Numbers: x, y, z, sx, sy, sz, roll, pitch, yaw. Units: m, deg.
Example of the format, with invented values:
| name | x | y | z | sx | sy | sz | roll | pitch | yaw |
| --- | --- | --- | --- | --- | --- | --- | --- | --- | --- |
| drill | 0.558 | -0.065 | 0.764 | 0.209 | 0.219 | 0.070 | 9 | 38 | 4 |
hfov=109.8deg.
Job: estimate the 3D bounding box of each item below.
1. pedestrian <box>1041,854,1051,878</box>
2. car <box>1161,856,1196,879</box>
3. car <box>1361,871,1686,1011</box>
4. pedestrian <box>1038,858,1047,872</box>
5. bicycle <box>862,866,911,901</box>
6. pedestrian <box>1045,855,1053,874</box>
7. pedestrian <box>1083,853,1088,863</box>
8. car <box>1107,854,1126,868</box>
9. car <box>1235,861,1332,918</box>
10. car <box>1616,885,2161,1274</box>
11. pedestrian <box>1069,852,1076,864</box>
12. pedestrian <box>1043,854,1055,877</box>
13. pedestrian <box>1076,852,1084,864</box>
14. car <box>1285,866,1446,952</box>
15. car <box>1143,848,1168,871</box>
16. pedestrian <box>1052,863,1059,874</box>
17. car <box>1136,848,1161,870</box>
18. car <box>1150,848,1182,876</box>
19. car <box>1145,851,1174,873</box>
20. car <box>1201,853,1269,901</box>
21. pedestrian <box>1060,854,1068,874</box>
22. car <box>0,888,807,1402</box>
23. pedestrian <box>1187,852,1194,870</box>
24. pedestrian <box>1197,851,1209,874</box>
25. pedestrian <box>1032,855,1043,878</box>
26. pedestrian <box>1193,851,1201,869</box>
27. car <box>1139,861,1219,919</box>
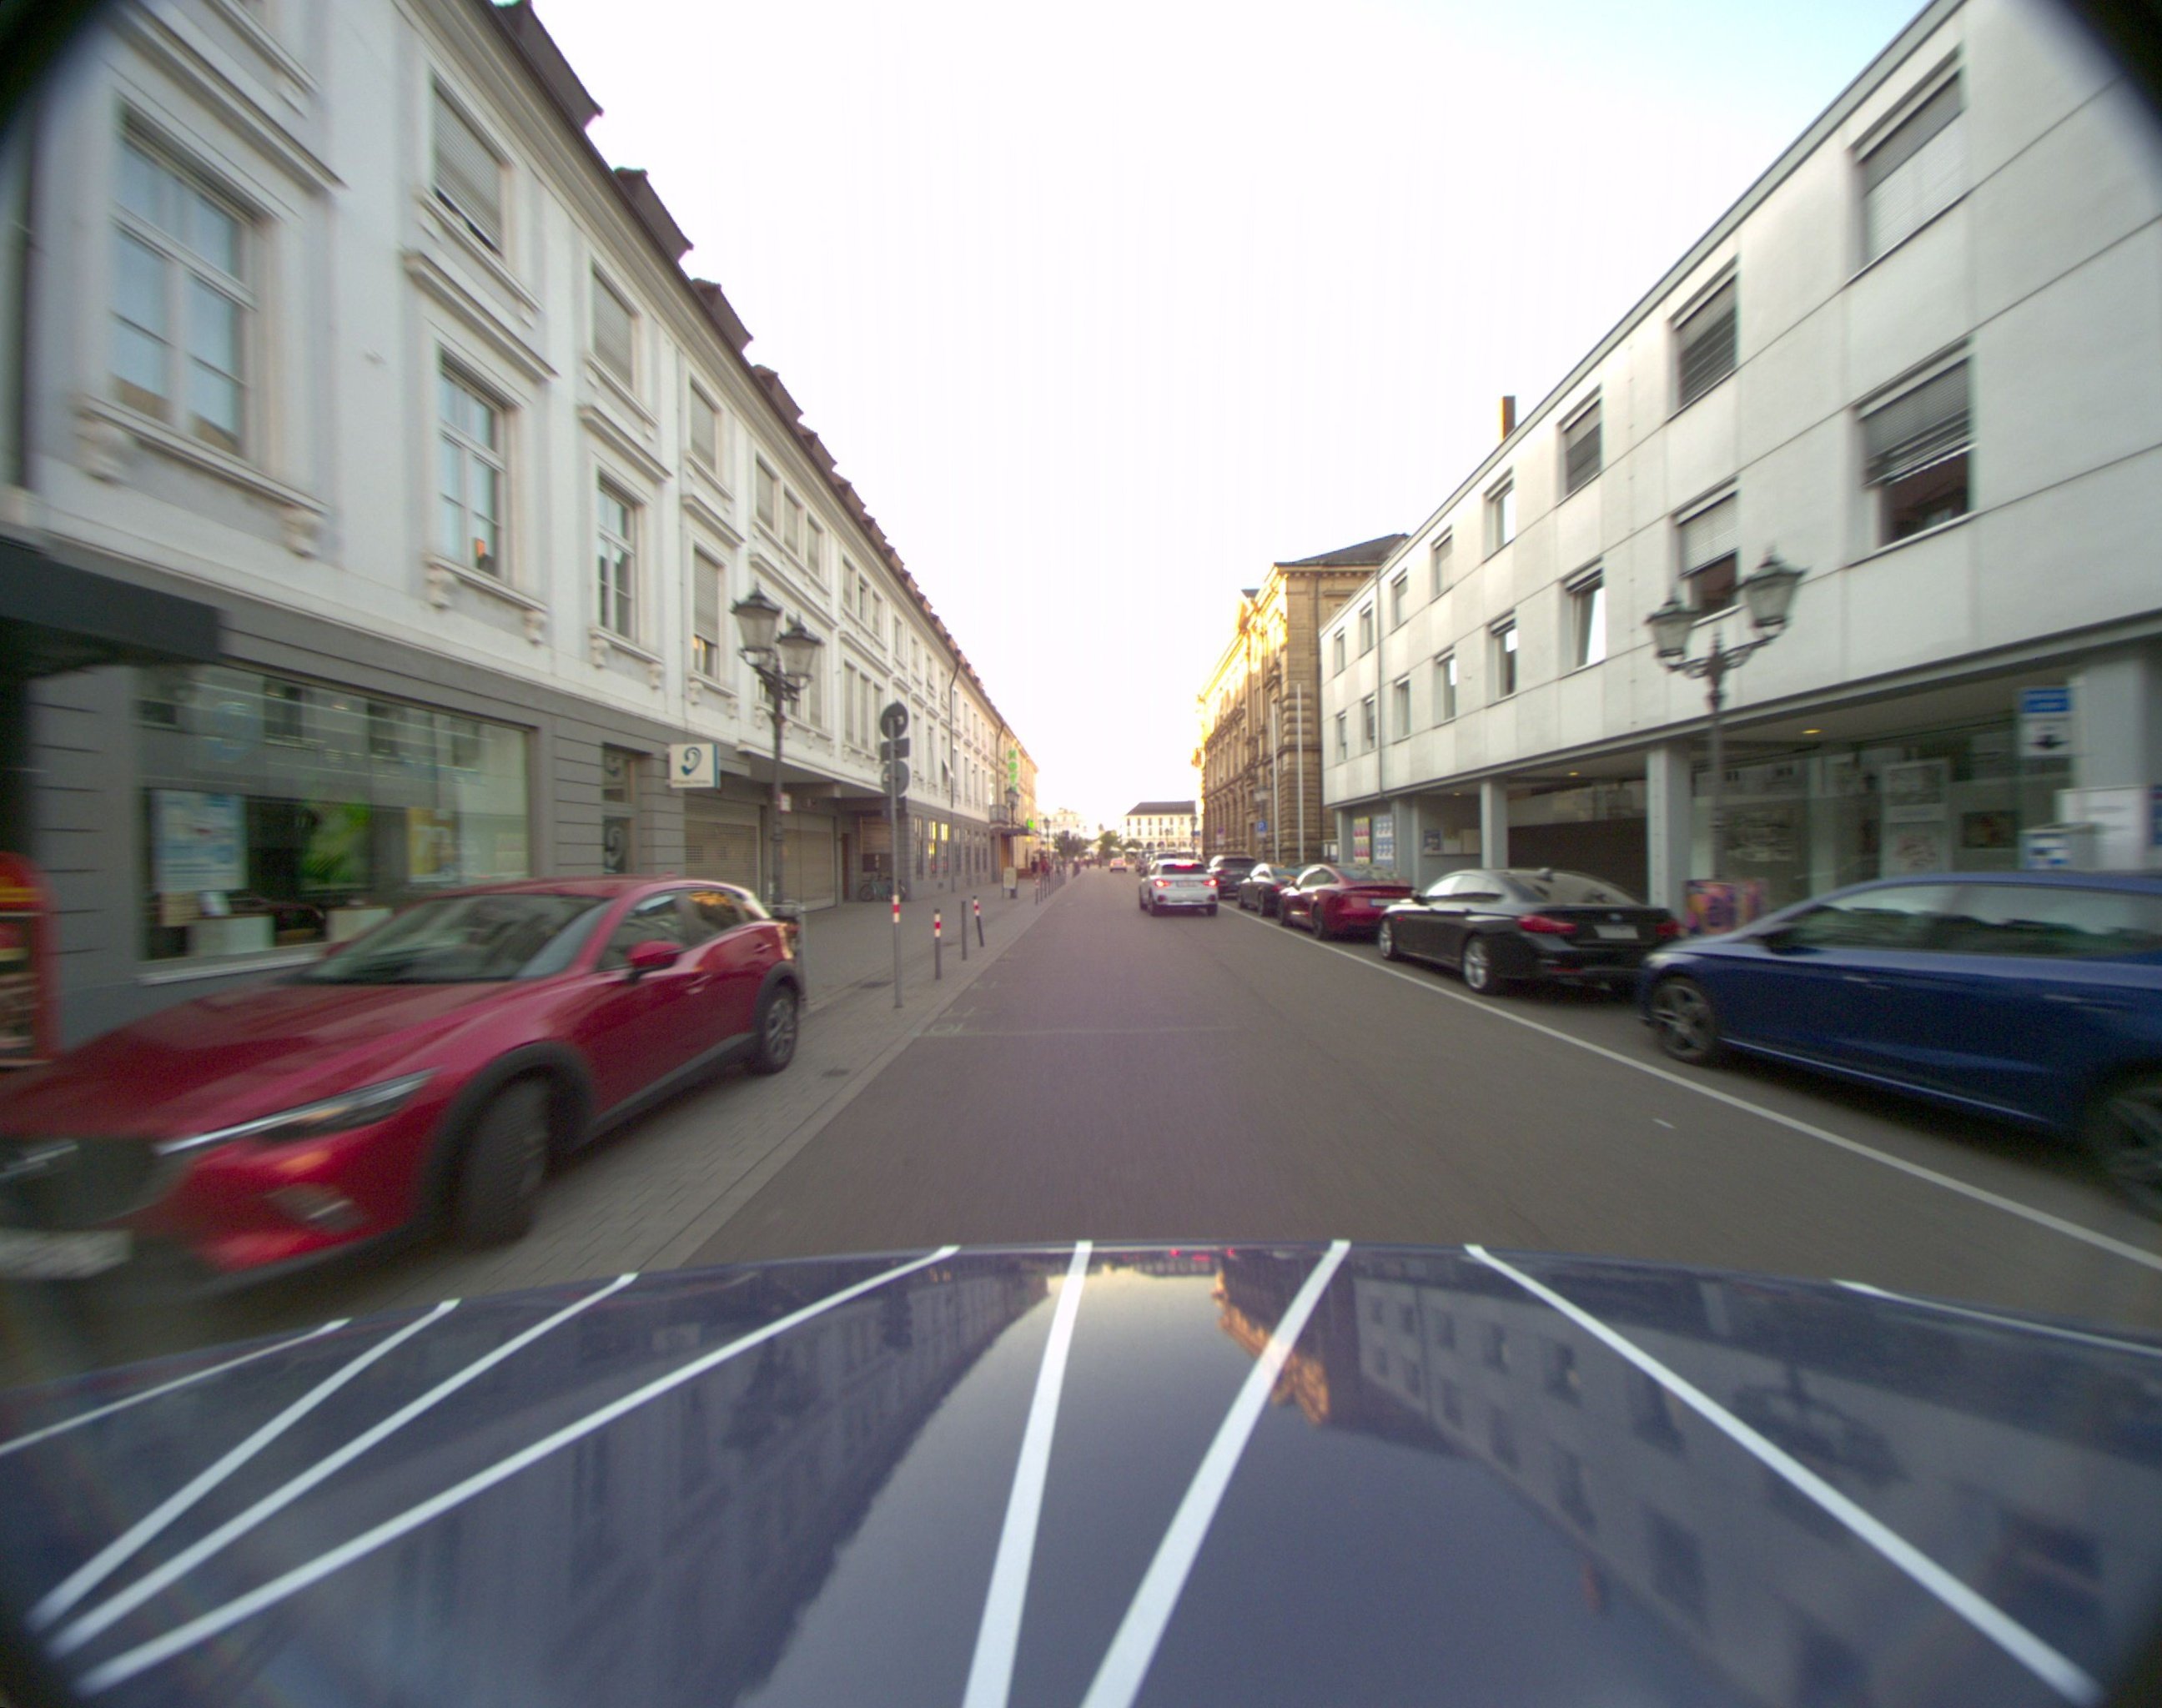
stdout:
| name | x | y | z | sx | sy | sz | roll | pitch | yaw |
| --- | --- | --- | --- | --- | --- | --- | --- | --- | --- |
| pedestrian | -2.613 | 0.891 | 57.181 | 0.622 | 1.779 | 0.913 | -1 | 0 | 2 |
| car | 6.736 | 0.892 | 52.920 | 1.998 | 1.486 | 4.165 | -1 | 0 | 2 |
| car | 5.352 | 0.949 | 9.937 | 1.998 | 1.346 | 4.000 | 1 | 0 | 2 |
| pedestrian | -3.776 | 1.099 | 74.567 | 0.777 | 1.351 | 0.723 | -1 | 0 | -15 |
| bicycle | -7.172 | 1.085 | 28.004 | 1.661 | 1.245 | 0.439 | -1 | 1 | -1 |
| pedestrian | -2.761 | 0.932 | 65.312 | 0.631 | 1.591 | 0.615 | -1 | 1 | 3 |
| pedestrian | 0.680 | 0.612 | 113.777 | 0.683 | 1.557 | 0.653 | -1 | 0 | 0 |
| car | 3.760 | 0.723 | 80.133 | 1.789 | 1.400 | 4.088 | -1 | 0 | 0 |
| car | 5.567 | 0.922 | 21.358 | 1.789 | 1.400 | 4.089 | -1 | 0 | 2 |
| car | 5.104 | 0.952 | 4.091 | 1.677 | 1.392 | 4.000 | 0 | 0 | 1 |
| pedestrian | -1.136 | 0.573 | 105.993 | 0.607 | 1.720 | 0.719 | -1 | 1 | 45 |
| pedestrian | -2.470 | 0.906 | 58.177 | 0.749 | 1.720 | 0.881 | -1 | 0 | 5 |
| pedestrian | -0.131 | 0.543 | 105.996 | 0.667 | 1.720 | 0.767 | -1 | 1 | 45 |
| car | 5.434 | 0.977 | 15.092 | 1.789 | 1.400 | 4.089 | -1 | 0 | 2 |
| car | 6.972 | 0.465 | 71.367 | 1.998 | 2.075 | 5.207 | -1 | 0 | 2 |
| pedestrian | -2.185 | 1.251 | 65.204 | 0.461 | 0.974 | 0.558 | -1 | 0 | 3 |
| car | 6.886 | 0.461 | 78.270 | 1.999 | 2.158 | 5.206 | -1 | 0 | -1 |
| car | 6.633 | 0.594 | 59.508 | 1.998 | 2.065 | 4.989 | -1 | 1 | 1 |
| car | 6.727 | 0.649 | 65.761 | 1.998 | 1.742 | 4.989 | -1 | 0 | 0 |
| car | 5.591 | 0.780 | 28.039 | 1.789 | 1.605 | 4.166 | -1 | 0 | 2 |
| pedestrian | -1.508 | 0.834 | 65.701 | 0.608 | 1.720 | 0.558 | -1 | 1 | 3 |
| car | -3.188 | 1.052 | 4.343 | 1.763 | 1.514 | 3.677 | -1 | 0 | 2 |
| pedestrian | 10.326 | 0.632 | 71.817 | 0.583 | 1.720 | 0.831 | -1 | 0 | 3 |
| pedestrian | 9.406 | 0.619 | 58.709 | 0.715 | 1.720 | 0.896 | -4 | 0 | 3 |
| pedestrian | -3.330 | 0.910 | 57.812 | 0.715 | 1.720 | 0.873 | -1 | 0 | 4 |
| pedestrian | 10.958 | 0.584 | 71.748 | 0.608 | 1.720 | 0.703 | -1 | 1 | 3 |
| car | 2.626 | 0.929 | 21.190 | 1.768 | 1.414 | 4.000 | 0 | 0 | 1 |
